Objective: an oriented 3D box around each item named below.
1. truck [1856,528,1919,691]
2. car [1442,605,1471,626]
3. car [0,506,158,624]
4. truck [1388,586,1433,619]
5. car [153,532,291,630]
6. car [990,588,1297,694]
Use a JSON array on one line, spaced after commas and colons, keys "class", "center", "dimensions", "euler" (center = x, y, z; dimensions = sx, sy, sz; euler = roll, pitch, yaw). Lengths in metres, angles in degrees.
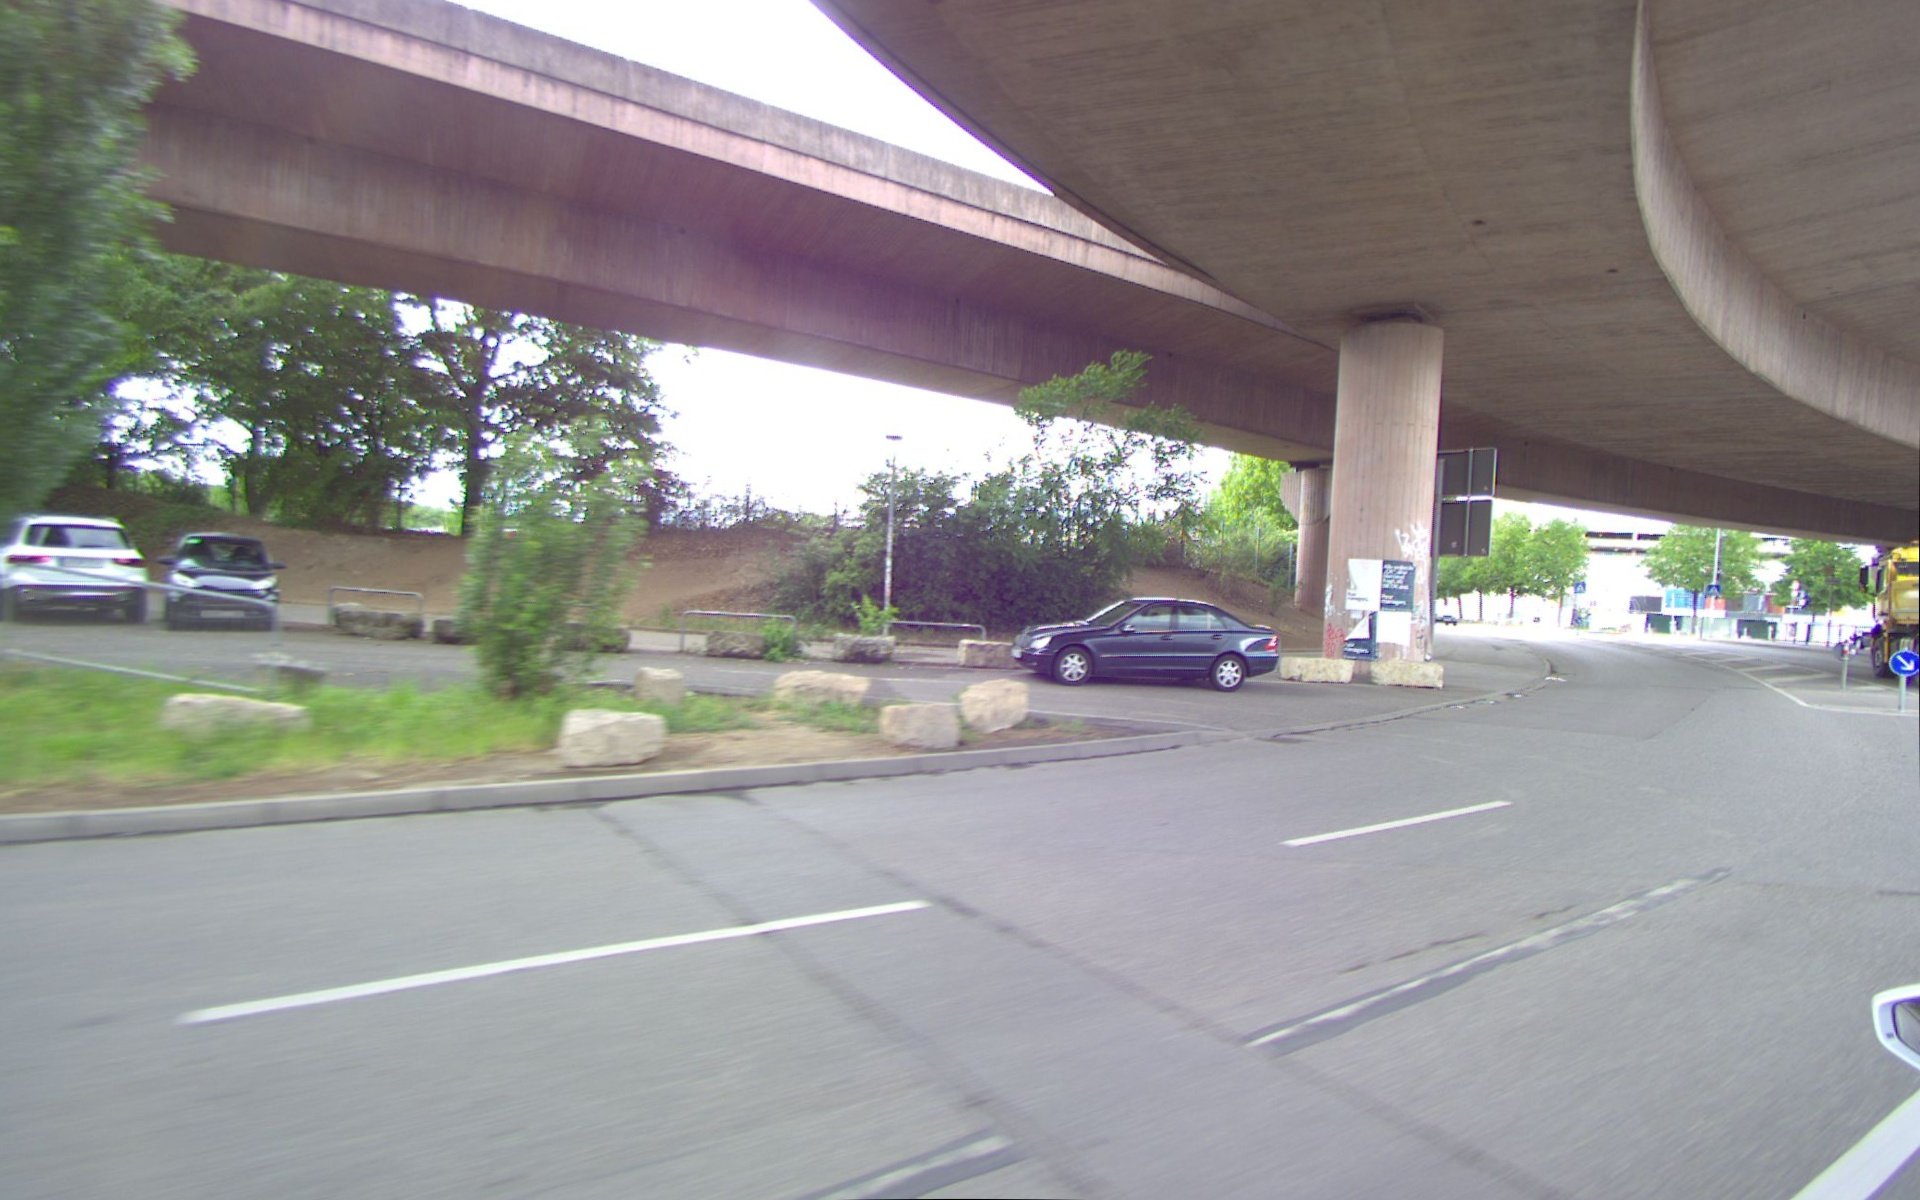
[{"class": "truck", "center": [24.301, 0.265, 24.185], "dimensions": [2.719, 3.747, 7.862], "euler": [0, -1, 32]}, {"class": "car", "center": [36.592, 1.147, 74.076], "dimensions": [1.649, 1.449, 3.998], "euler": [3, 1, 23]}, {"class": "car", "center": [-15.125, -0.589, 16.980], "dimensions": [4.003, 1.730, 1.727], "euler": [3, 0, 41]}, {"class": "truck", "center": [50.394, 0.353, 112.482], "dimensions": [2.627, 3.605, 7.929], "euler": [1, -1, 9]}, {"class": "car", "center": [-12.808, -0.344, 17.350], "dimensions": [1.527, 1.484, 3.821], "euler": [3, 0, -42]}, {"class": "car", "center": [3.017, 0.671, 16.857], "dimensions": [4.691, 1.450, 1.823], "euler": [2, 3, -13]}]
